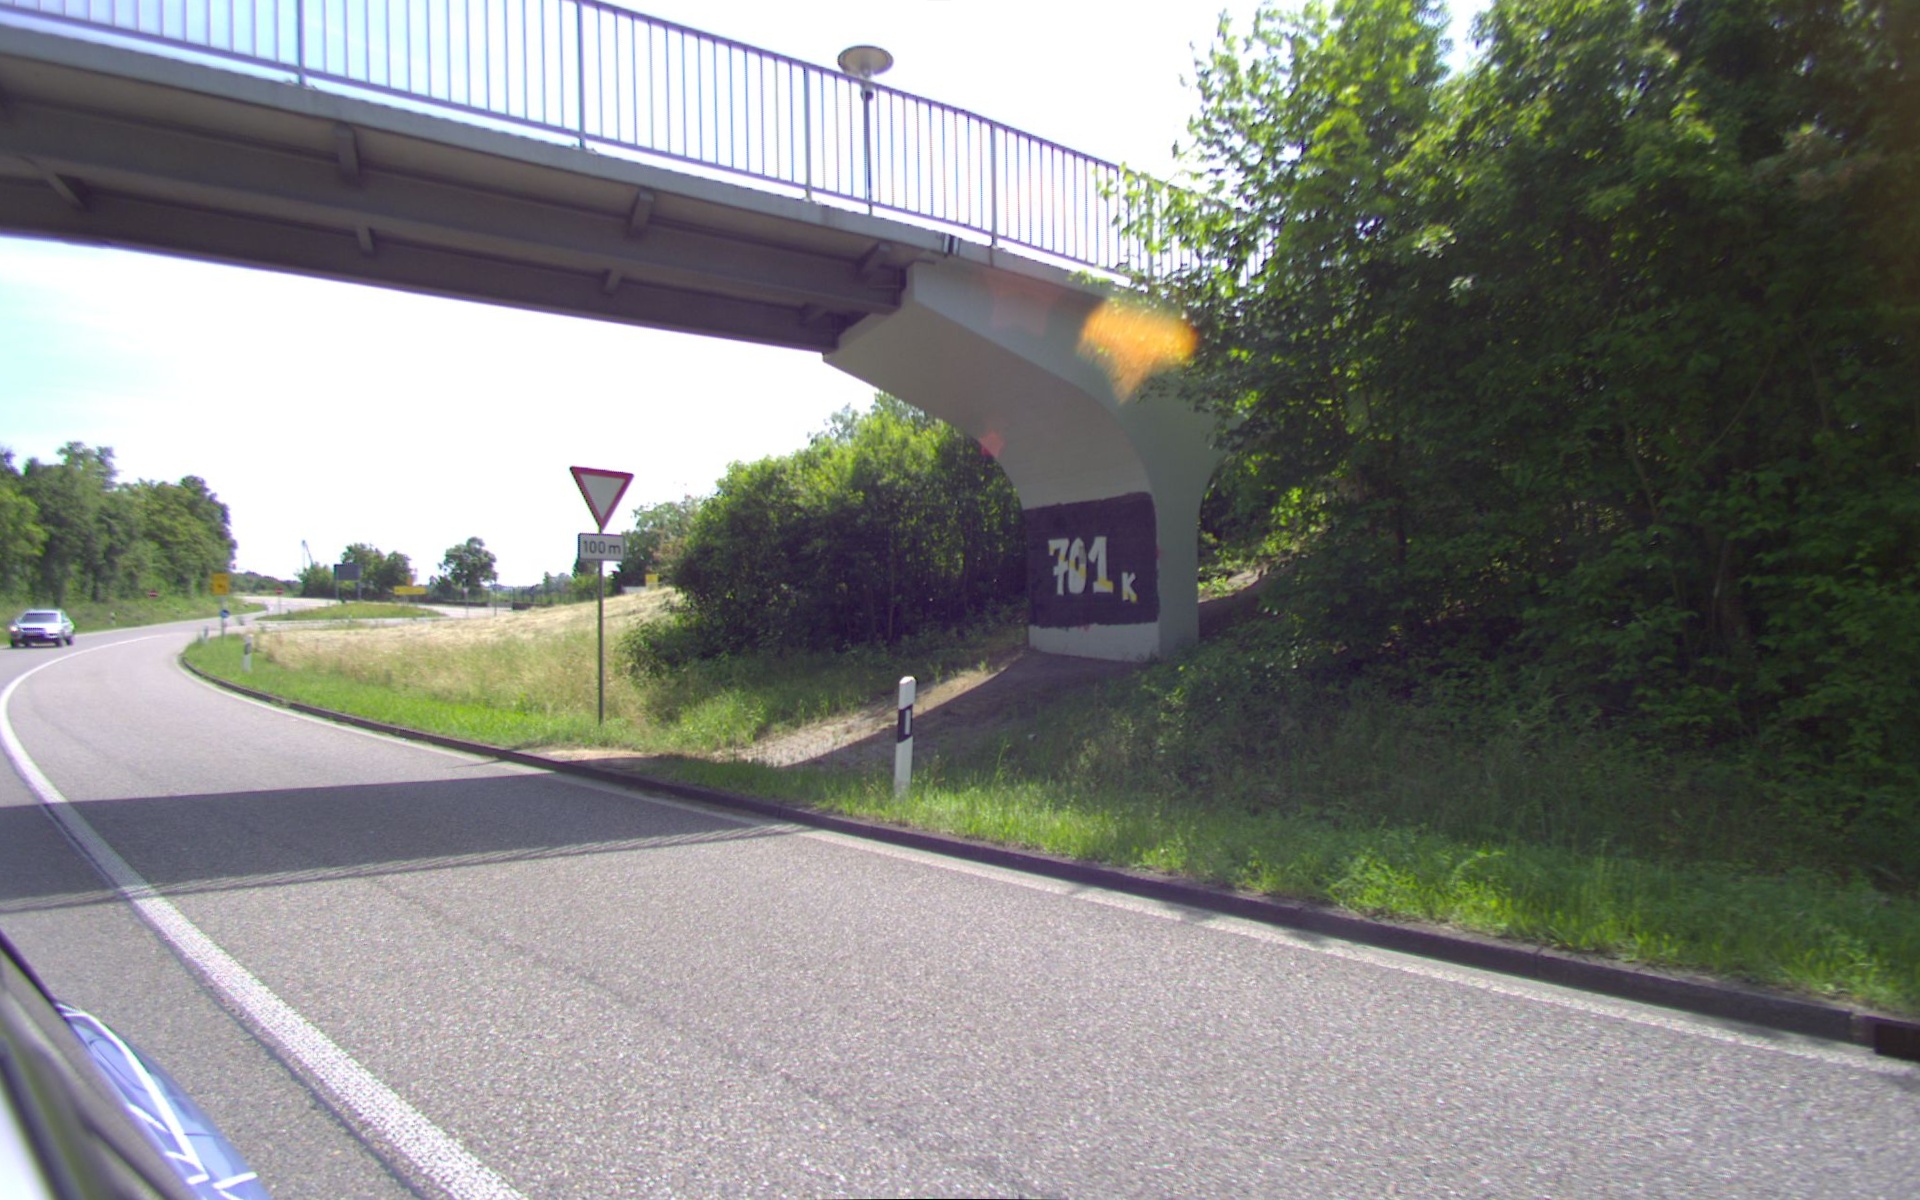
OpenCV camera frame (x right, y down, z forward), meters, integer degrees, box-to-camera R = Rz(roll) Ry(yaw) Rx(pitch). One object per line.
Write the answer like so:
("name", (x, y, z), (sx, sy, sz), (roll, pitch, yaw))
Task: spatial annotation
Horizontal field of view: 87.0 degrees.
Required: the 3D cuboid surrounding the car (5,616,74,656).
("car", (-42.483, 1.630, 46.789), (1.819, 1.721, 4.099), (-1, 0, -35))
